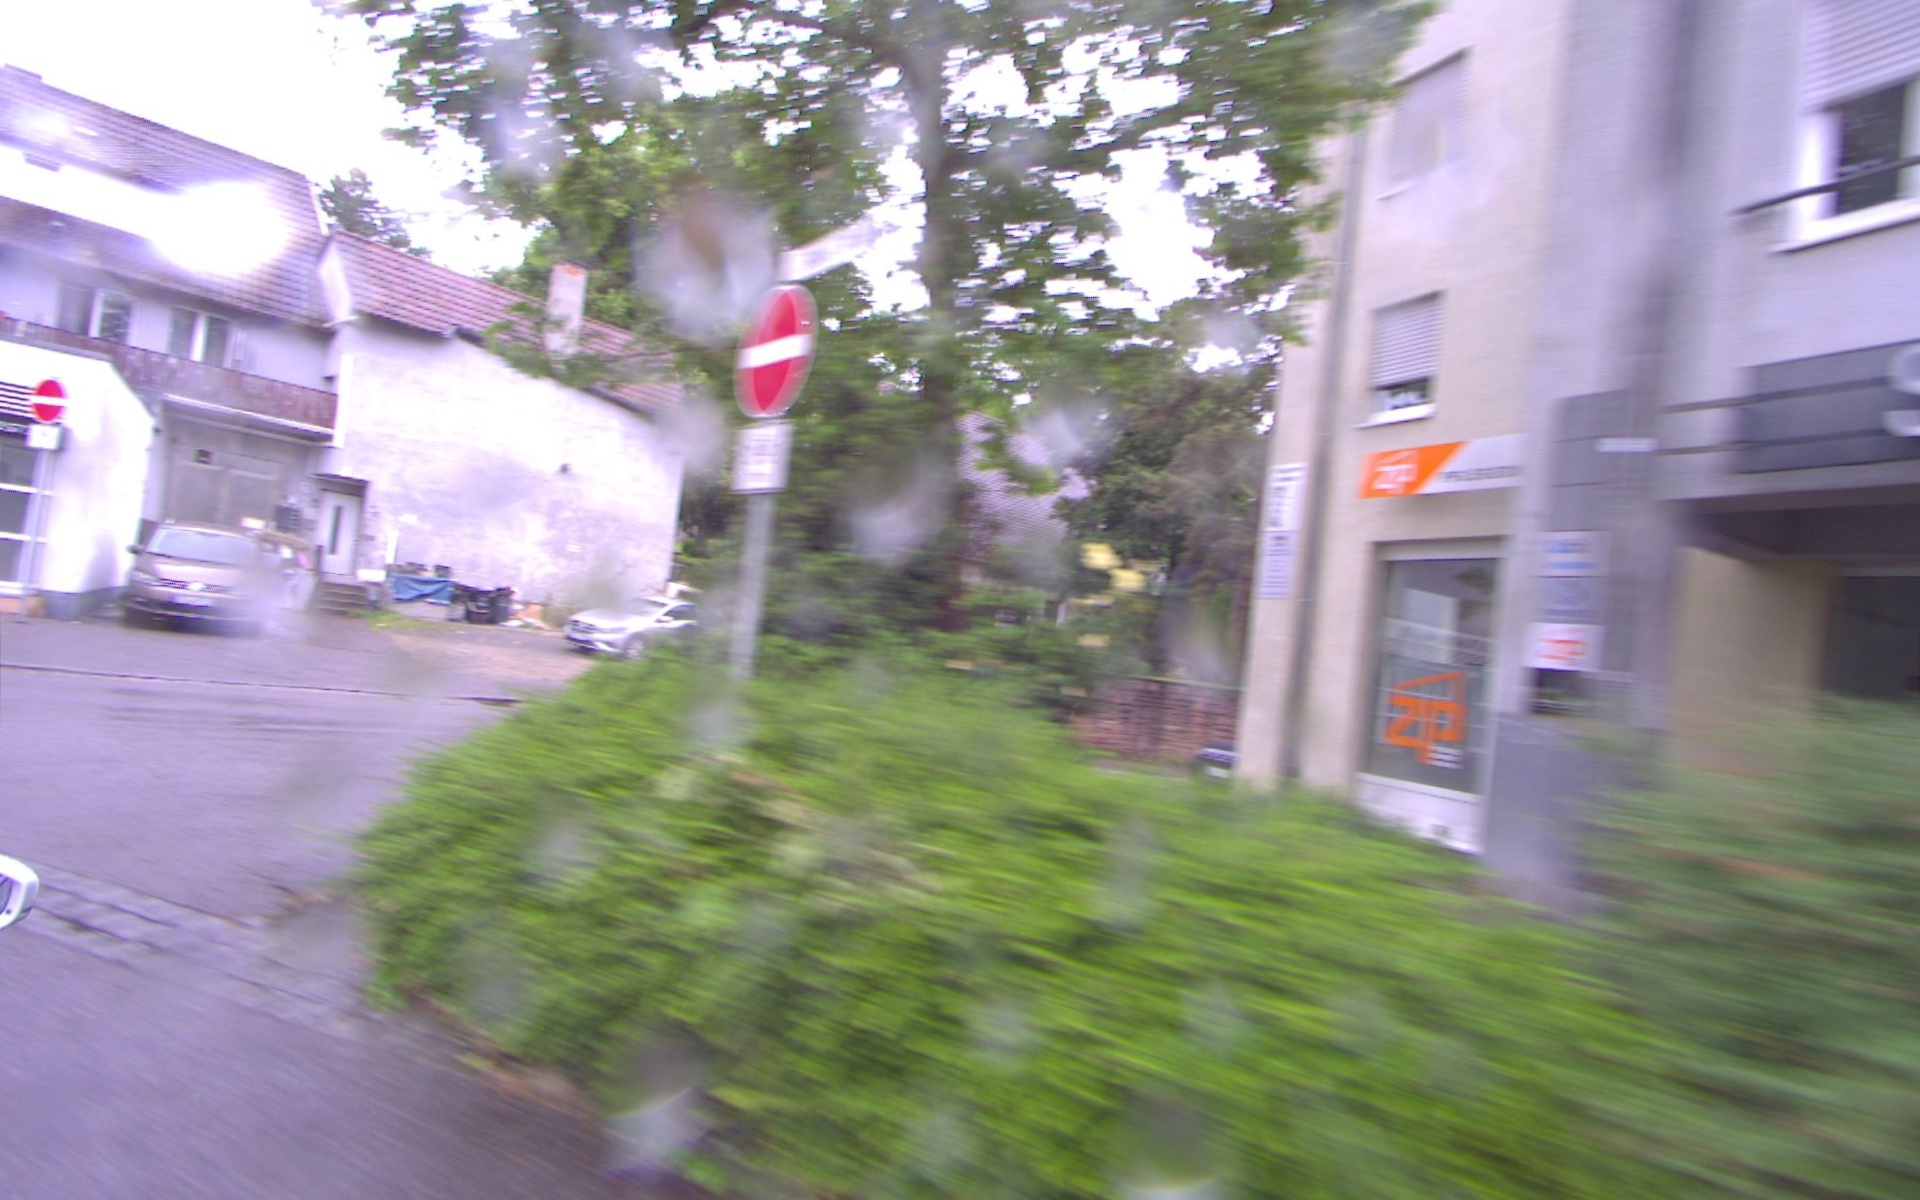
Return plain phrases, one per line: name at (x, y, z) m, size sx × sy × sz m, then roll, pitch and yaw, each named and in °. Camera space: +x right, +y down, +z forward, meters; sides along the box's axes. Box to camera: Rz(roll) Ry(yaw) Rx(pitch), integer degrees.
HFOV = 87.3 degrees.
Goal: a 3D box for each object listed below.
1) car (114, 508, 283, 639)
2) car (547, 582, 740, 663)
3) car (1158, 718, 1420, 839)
car at (-13.148, -0.539, 17.440) m, size 1.915 × 1.748 × 4.619 m, roll 9°, pitch -1°, yaw -37°
car at (-7.220, 0.579, 23.346) m, size 1.713 × 1.405 × 4.033 m, roll 10°, pitch 1°, yaw 30°
car at (5.367, 2.903, 16.298) m, size 3.965 × 1.323 × 1.876 m, roll 12°, pitch -4°, yaw -33°
